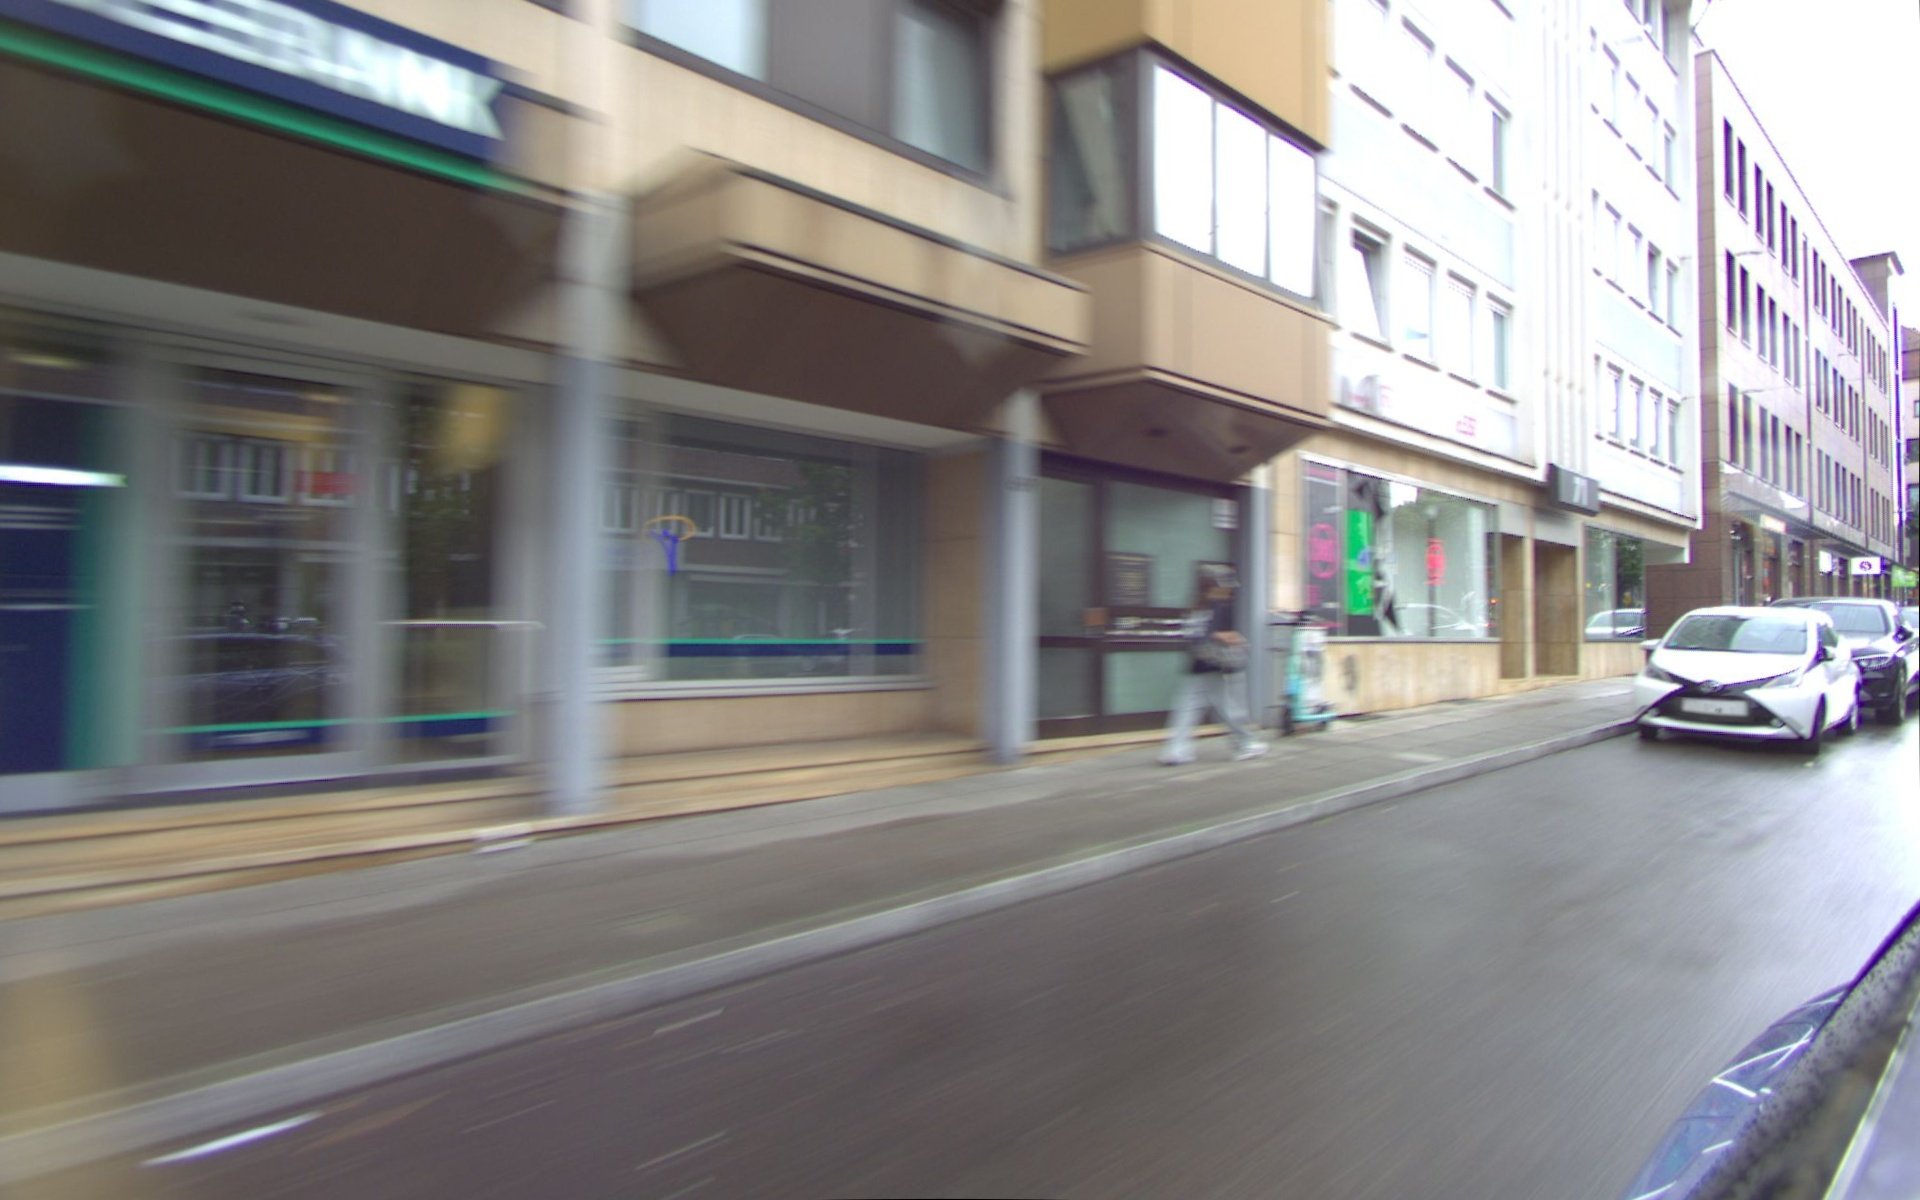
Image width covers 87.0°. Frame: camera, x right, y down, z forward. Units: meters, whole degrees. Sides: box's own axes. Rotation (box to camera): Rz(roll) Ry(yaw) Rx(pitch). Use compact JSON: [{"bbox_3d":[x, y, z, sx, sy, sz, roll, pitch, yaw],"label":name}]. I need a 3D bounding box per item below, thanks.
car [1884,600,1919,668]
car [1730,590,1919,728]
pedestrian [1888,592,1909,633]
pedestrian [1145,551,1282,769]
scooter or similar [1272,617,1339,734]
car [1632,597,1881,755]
[{"bbox_3d":[22.924,0.762,23.581,4.532,1.487,1.775,0,0,-44],"label":"car"},{"bbox_3d":[12.745,0.714,14.503,5.080,1.652,1.810,0,0,-42],"label":"car"},{"bbox_3d":[39.058,0.507,42.117,0.614,1.680,0.602,0,0,-41],"label":"pedestrian"},{"bbox_3d":[2.100,0.460,8.360,0.949,1.673,0.696,1,-1,-42],"label":"pedestrian"},{"bbox_3d":[3.475,0.723,10.138,0.209,1.096,1.216,0,-1,40],"label":"scooter or similar"},{"bbox_3d":[9.006,0.725,11.354,3.503,1.495,1.560,0,0,-41],"label":"car"}]
